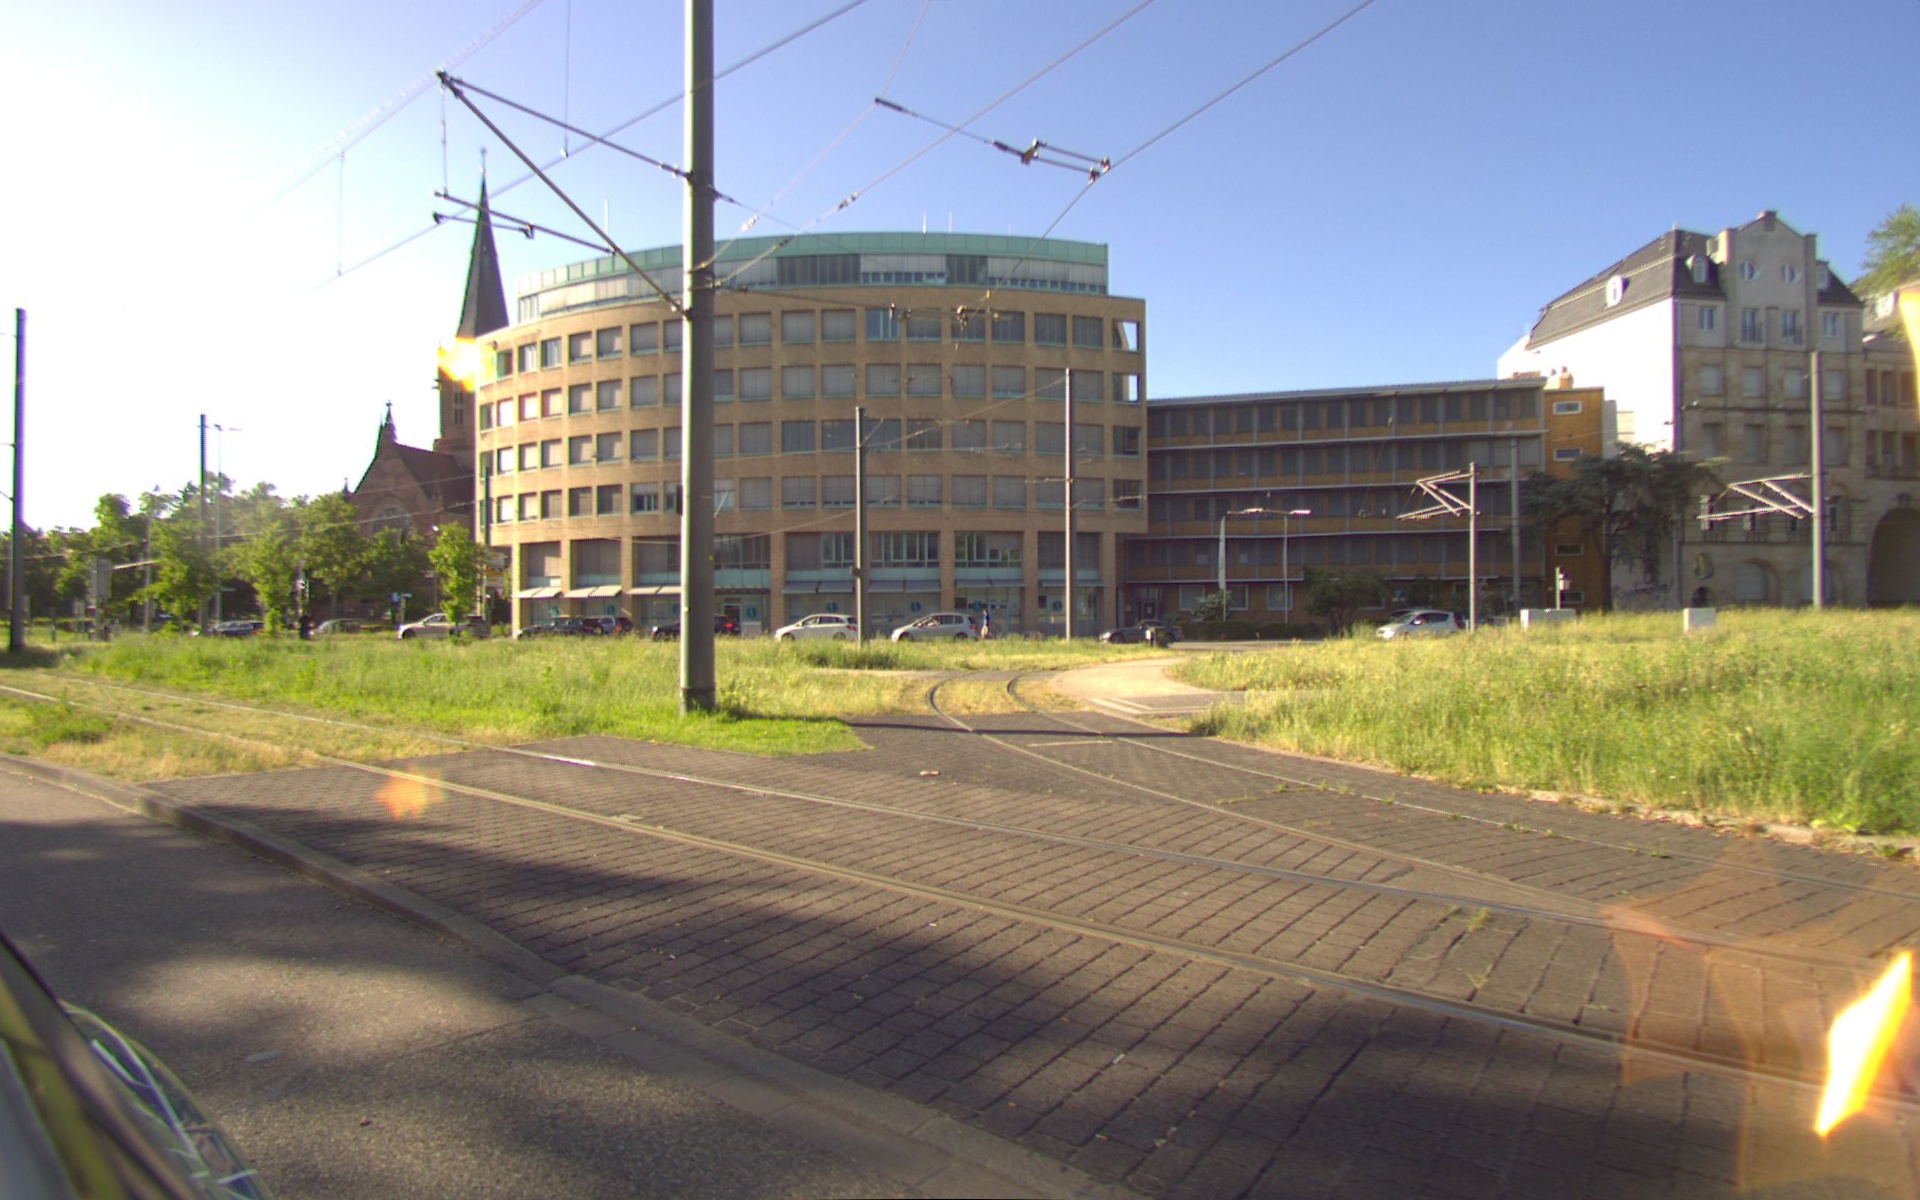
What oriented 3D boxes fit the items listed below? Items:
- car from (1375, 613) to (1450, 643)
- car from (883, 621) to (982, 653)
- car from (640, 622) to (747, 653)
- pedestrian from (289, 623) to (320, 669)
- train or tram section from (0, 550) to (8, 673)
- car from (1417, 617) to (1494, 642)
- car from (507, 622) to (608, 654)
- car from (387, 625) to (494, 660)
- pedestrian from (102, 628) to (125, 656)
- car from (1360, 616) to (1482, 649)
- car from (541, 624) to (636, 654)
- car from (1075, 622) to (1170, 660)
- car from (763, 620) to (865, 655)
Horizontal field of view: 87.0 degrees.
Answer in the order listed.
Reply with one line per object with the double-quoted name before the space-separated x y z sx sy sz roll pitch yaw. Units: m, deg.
"car" 26.805 1.652 60.086 1.966 1.593 4.012 -1 1 -16
"car" -1.301 1.756 48.425 4.460 1.438 1.994 -1 0 10
"car" -13.537 1.893 51.439 4.976 1.458 1.989 -1 1 17
"pedestrian" -24.314 1.691 37.540 0.742 1.683 0.728 -2 -1 31
"train or tram section" -35.271 0.515 32.995 13.139 3.713 2.927 -2 -1 32
"car" 29.540 1.733 60.439 1.966 1.351 4.012 -1 1 -16
"car" -21.073 1.980 52.990 4.615 1.528 1.992 -1 0 13
"car" -28.155 2.284 54.878 5.034 1.747 2.098 -1 -1 13
"pedestrian" -62.469 3.117 74.681 0.917 2.029 0.875 -1 0 15
"car" 21.279 1.496 46.864 4.707 1.364 1.997 -2 0 5
"car" -22.626 2.375 61.729 5.160 1.681 2.115 -1 0 14
"car" 7.516 1.868 46.975 4.235 1.524 1.994 2 0 10
"car" -7.173 1.822 49.844 4.609 1.608 1.992 -1 0 13
